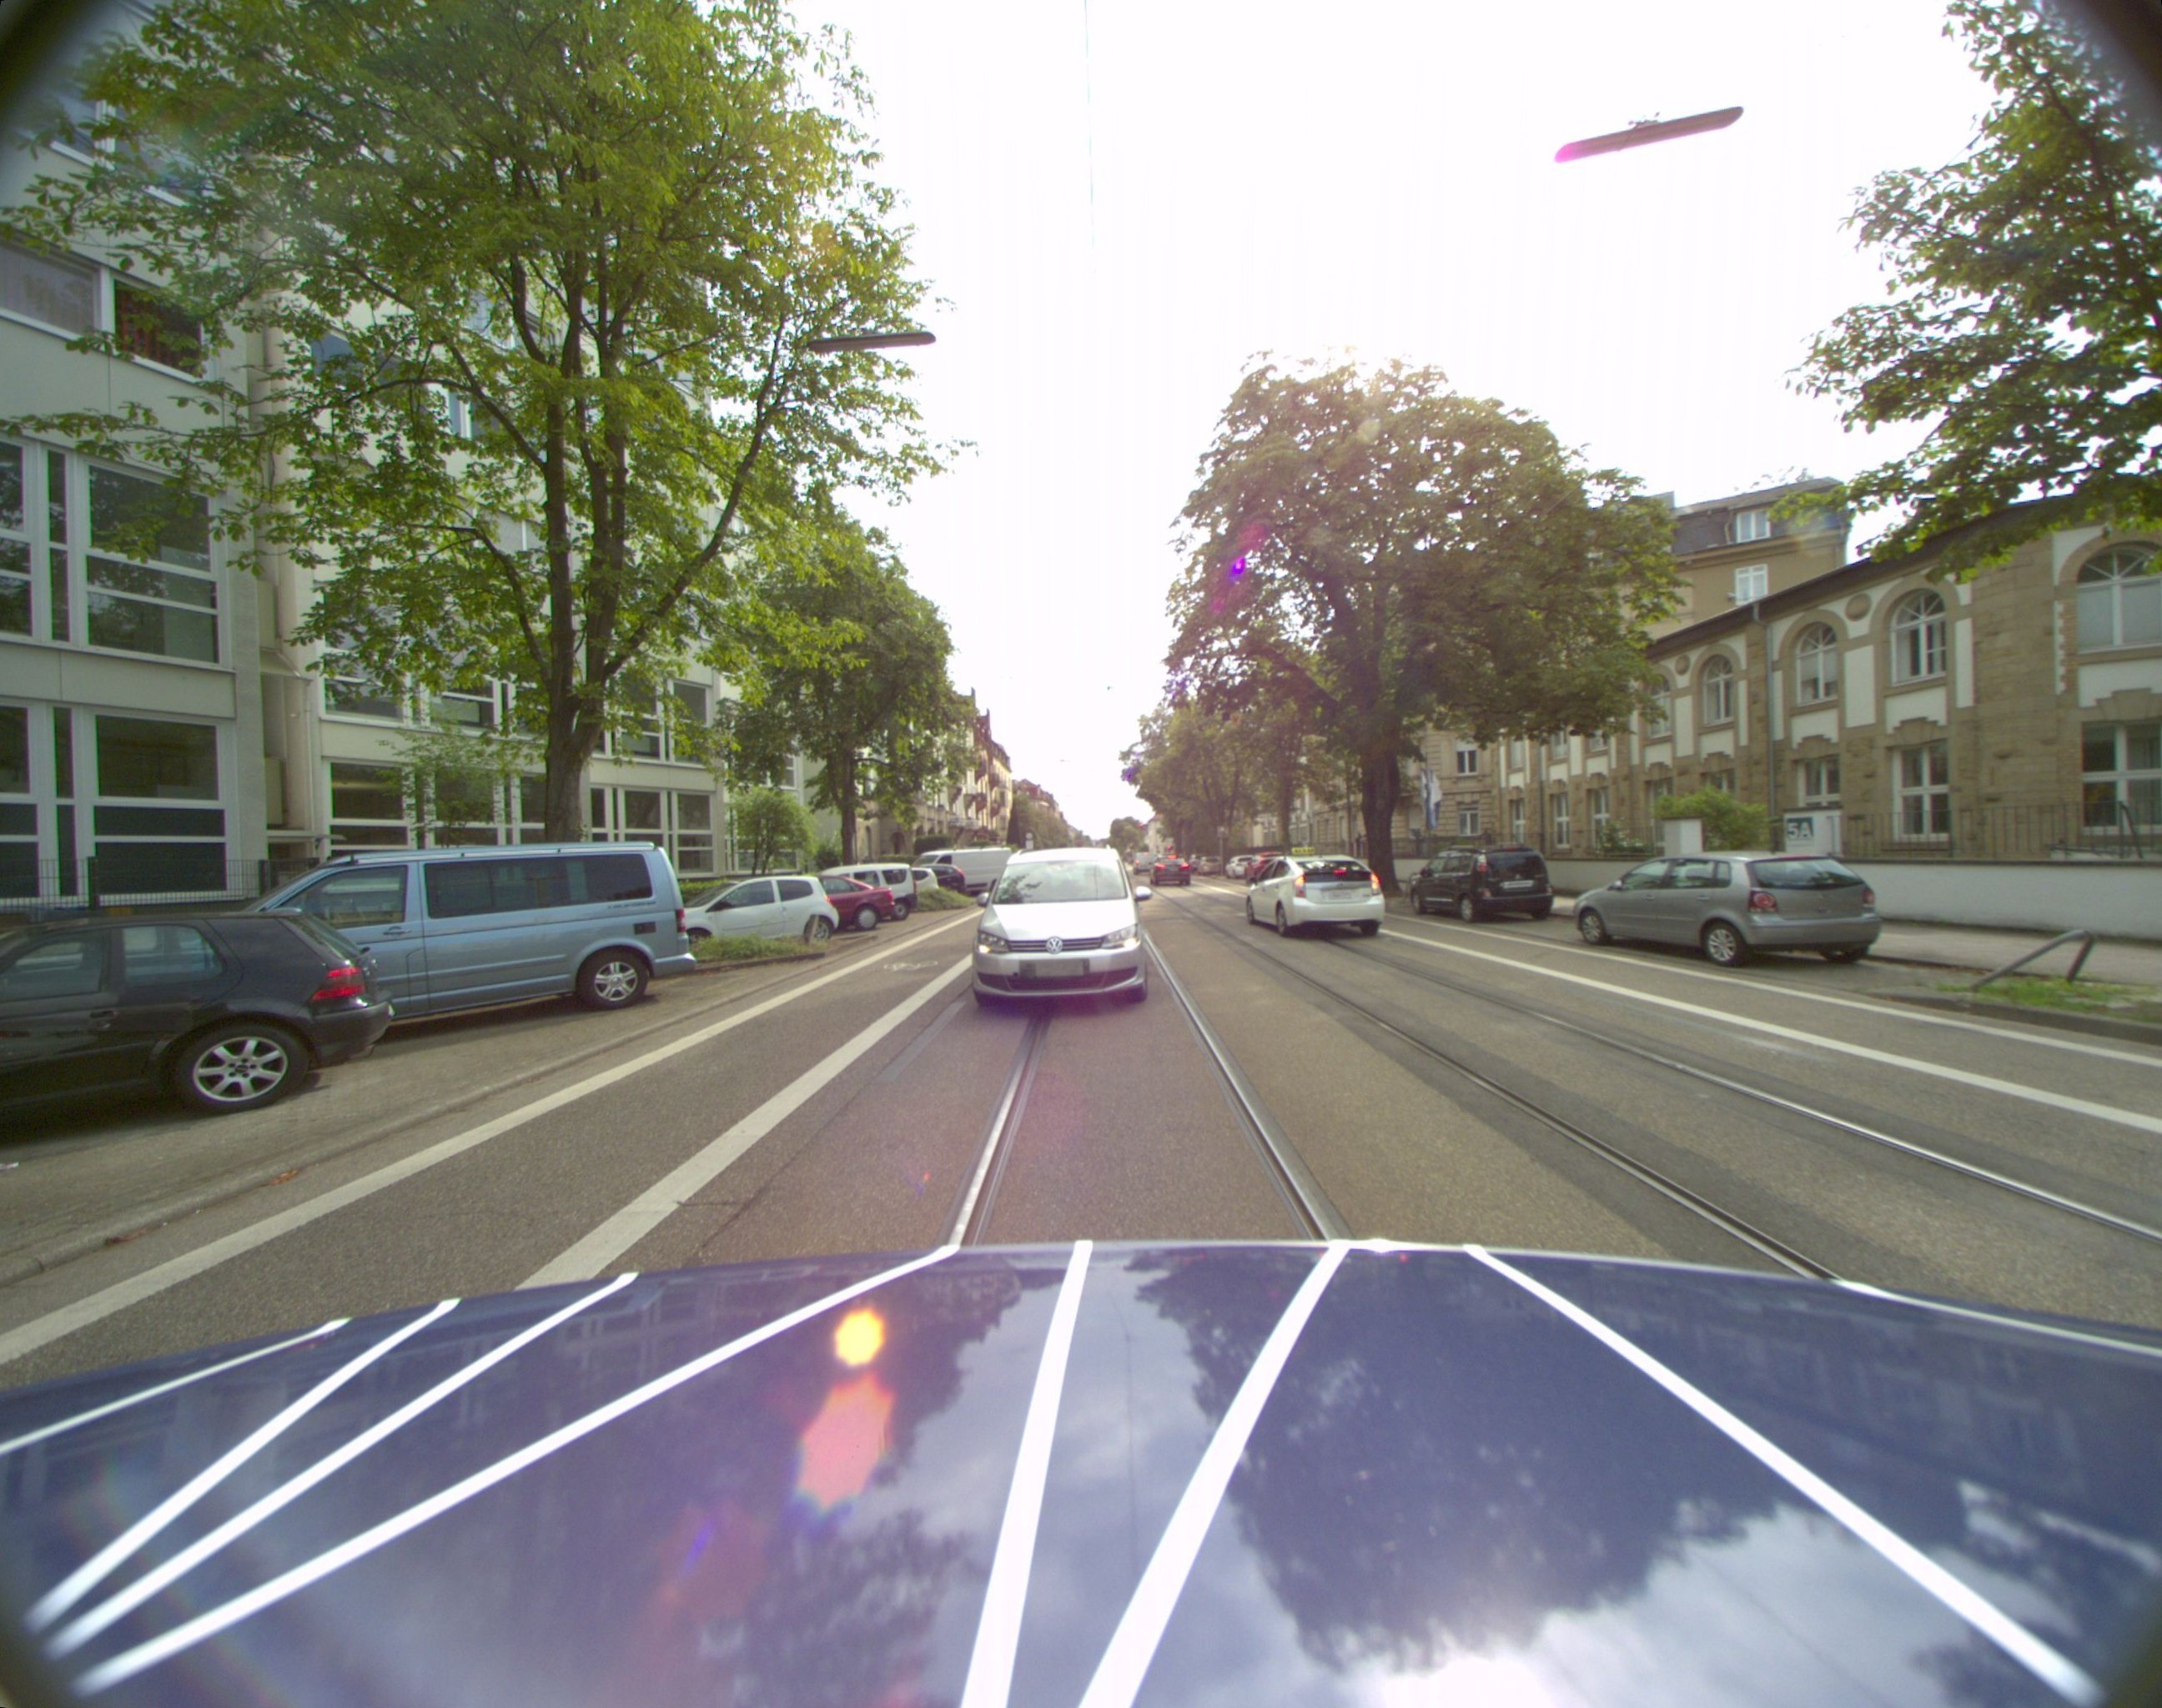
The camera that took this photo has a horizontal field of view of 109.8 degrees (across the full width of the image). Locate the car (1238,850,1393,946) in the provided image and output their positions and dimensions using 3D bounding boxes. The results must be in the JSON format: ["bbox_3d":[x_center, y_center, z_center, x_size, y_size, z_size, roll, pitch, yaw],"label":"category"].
[{"bbox_3d":[4.433,0.749,15.089,1.736,1.603,4.334,-1,0,0],"label":"car"}]

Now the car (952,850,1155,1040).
[{"bbox_3d":[-0.229,0.841,9.335,1.816,1.691,4.617,-2,0,1],"label":"car"}]

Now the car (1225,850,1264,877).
[{"bbox_3d":[10.414,0.593,48.695,1.659,1.592,3.906,-2,0,1],"label":"car"}]

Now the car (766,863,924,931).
[{"bbox_3d":[-6.553,1.121,21.302,3.777,1.609,1.809,-2,1,-40],"label":"car"}]

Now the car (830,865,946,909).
[{"bbox_3d":[-6.983,1.151,27.669,3.652,1.322,1.763,-3,1,-44],"label":"car"}]

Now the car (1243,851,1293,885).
[{"bbox_3d":[9.744,0.701,39.937,1.659,1.624,3.906,-2,0,1],"label":"car"}]

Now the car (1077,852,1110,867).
[{"bbox_3d":[2.052,0.874,123.485,5.256,2.333,2.001,-2,0,5],"label":"car"}]

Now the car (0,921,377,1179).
[{"bbox_3d":[-7.413,1.327,4.999,3.980,1.379,1.810,-3,-1,-44],"label":"car"}]

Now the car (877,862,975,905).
[{"bbox_3d":[-6.490,1.182,31.802,3.649,1.580,1.764,-2,1,-25],"label":"car"}]

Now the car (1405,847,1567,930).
[{"bbox_3d":[8.974,0.696,17.203,1.659,1.624,3.725,-2,0,1],"label":"car"}]

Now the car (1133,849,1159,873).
[{"bbox_3d":[5.426,0.565,63.640,1.799,1.813,4.678,-2,0,1],"label":"car"}]

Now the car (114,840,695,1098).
[{"bbox_3d":[-6.996,0.942,8.446,4.354,2.052,1.994,-2,0,-45],"label":"car"}]

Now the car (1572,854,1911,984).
[{"bbox_3d":[8.827,0.754,10.615,1.632,1.456,3.574,-2,0,1],"label":"car"}]

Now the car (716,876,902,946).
[{"bbox_3d":[-6.516,1.292,18.384,3.777,1.331,1.809,-2,1,-40],"label":"car"}]

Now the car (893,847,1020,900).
[{"bbox_3d":[-5.732,0.835,35.482,5.449,2.163,2.142,-2,1,-40],"label":"car"}]

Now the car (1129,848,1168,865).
[{"bbox_3d":[10.999,0.388,124.070,5.933,2.585,1.999,-2,0,-7],"label":"car"}]

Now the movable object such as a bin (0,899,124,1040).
[{"bbox_3d":[-12.247,1.288,8.481,1.334,1.450,1.400,-2,0,5],"label":"movable object such as a bin"}]

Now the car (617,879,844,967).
[{"bbox_3d":[-6.859,1.252,15.085,3.652,1.322,1.763,-3,1,-44],"label":"car"}]

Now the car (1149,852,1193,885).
[{"bbox_3d":[4.753,0.722,40.673,1.852,1.603,4.334,-2,0,1],"label":"car"}]

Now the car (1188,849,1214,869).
[{"bbox_3d":[10.439,0.436,66.548,1.659,1.624,3.906,-2,0,1],"label":"car"}]

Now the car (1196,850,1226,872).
[{"bbox_3d":[10.130,0.529,59.237,1.659,1.624,3.906,-2,0,1],"label":"car"}]
